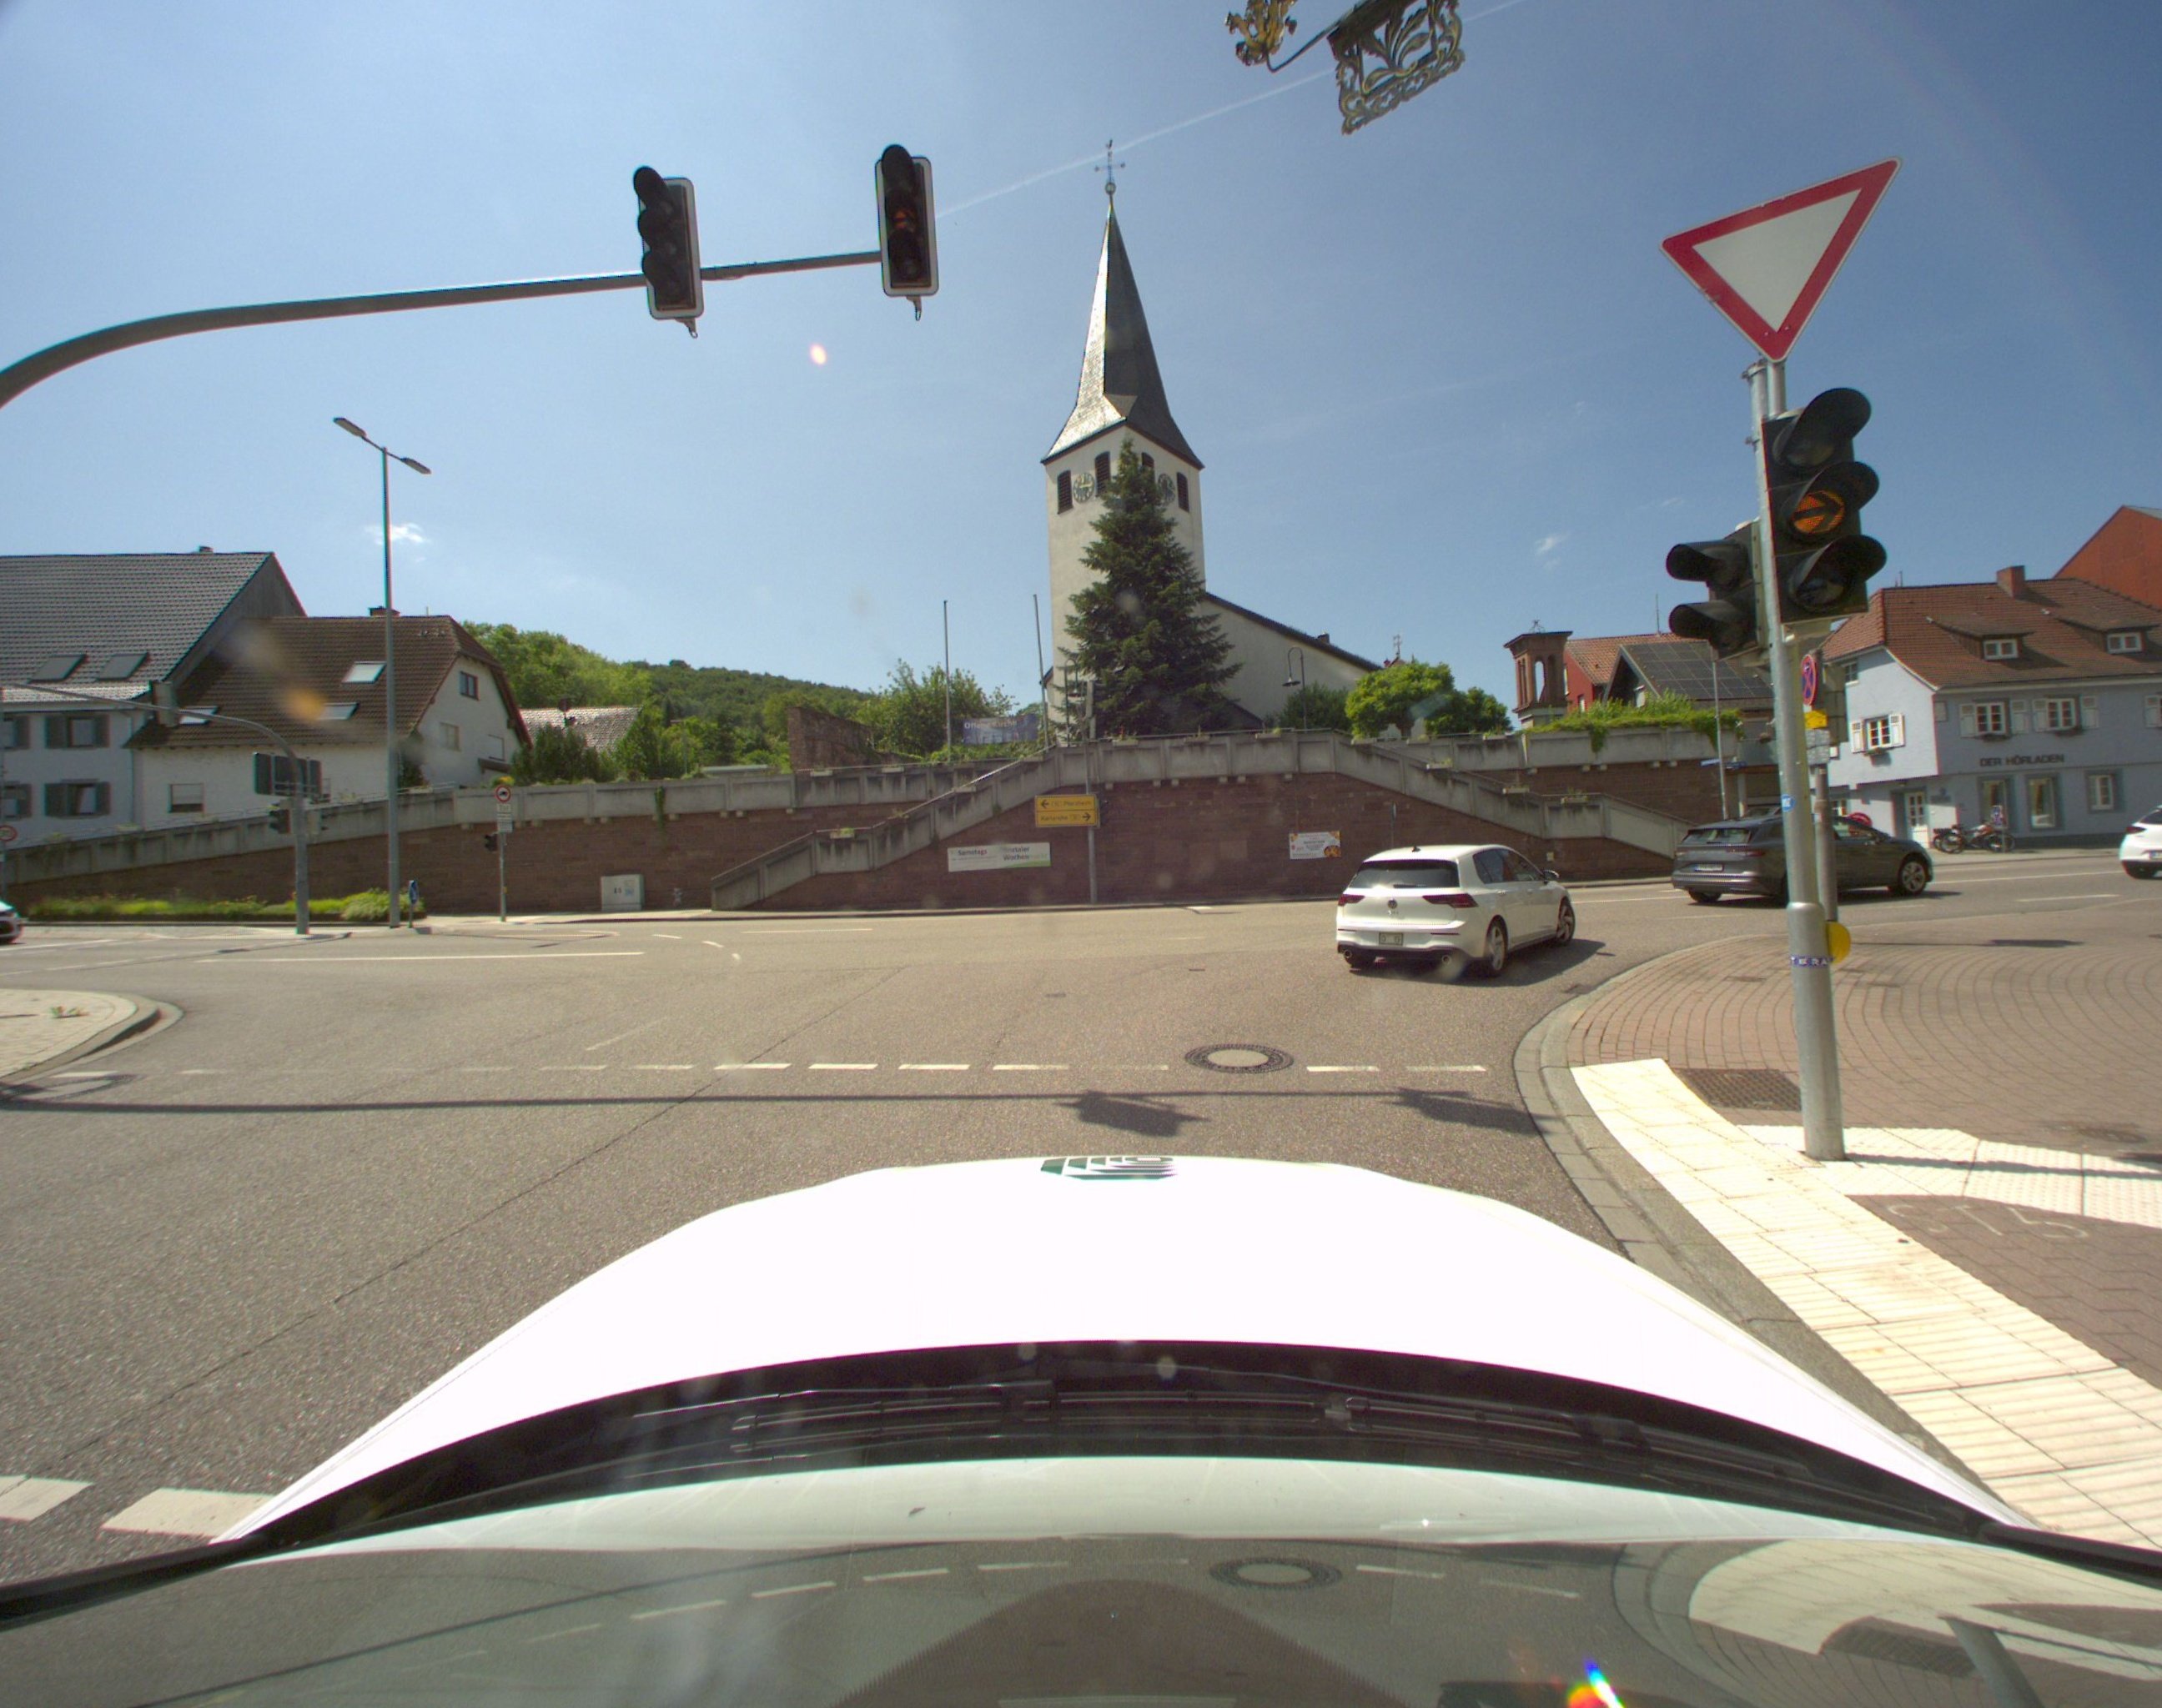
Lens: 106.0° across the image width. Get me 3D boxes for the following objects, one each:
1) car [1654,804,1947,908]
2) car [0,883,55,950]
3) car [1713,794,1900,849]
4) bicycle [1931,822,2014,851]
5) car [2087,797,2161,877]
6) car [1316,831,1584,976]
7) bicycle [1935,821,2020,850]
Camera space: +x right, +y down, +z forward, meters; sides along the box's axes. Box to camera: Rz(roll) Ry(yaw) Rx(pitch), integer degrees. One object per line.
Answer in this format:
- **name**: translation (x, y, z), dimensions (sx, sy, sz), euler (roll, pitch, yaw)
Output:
- **car**: translation (13.350, 0.010, 15.198), dimensions (4.317, 1.582, 1.947), euler (-3, 0, -13)
- **car**: translation (-26.459, 1.476, 18.616), dimensions (3.966, 1.479, 1.868), euler (-1, 1, 6)
- **car**: translation (33.486, -1.450, 37.823), dimensions (5.938, 2.014, 2.532), euler (-3, -2, 11)
- **bicycle**: translation (30.510, -0.603, 27.904), dimensions (1.799, 0.899, 0.653), euler (-2, 0, 37)
- **car**: translation (21.577, -0.402, 15.156), dimensions (3.846, 1.458, 1.784), euler (-3, -1, -7)
- **car**: translation (4.800, 0.505, 10.337), dimensions (3.886, 1.458, 1.766), euler (-2, -1, -45)
- **bicycle**: translation (30.097, -0.612, 27.377), dimensions (1.799, 0.899, 0.627), euler (-2, 0, 37)
